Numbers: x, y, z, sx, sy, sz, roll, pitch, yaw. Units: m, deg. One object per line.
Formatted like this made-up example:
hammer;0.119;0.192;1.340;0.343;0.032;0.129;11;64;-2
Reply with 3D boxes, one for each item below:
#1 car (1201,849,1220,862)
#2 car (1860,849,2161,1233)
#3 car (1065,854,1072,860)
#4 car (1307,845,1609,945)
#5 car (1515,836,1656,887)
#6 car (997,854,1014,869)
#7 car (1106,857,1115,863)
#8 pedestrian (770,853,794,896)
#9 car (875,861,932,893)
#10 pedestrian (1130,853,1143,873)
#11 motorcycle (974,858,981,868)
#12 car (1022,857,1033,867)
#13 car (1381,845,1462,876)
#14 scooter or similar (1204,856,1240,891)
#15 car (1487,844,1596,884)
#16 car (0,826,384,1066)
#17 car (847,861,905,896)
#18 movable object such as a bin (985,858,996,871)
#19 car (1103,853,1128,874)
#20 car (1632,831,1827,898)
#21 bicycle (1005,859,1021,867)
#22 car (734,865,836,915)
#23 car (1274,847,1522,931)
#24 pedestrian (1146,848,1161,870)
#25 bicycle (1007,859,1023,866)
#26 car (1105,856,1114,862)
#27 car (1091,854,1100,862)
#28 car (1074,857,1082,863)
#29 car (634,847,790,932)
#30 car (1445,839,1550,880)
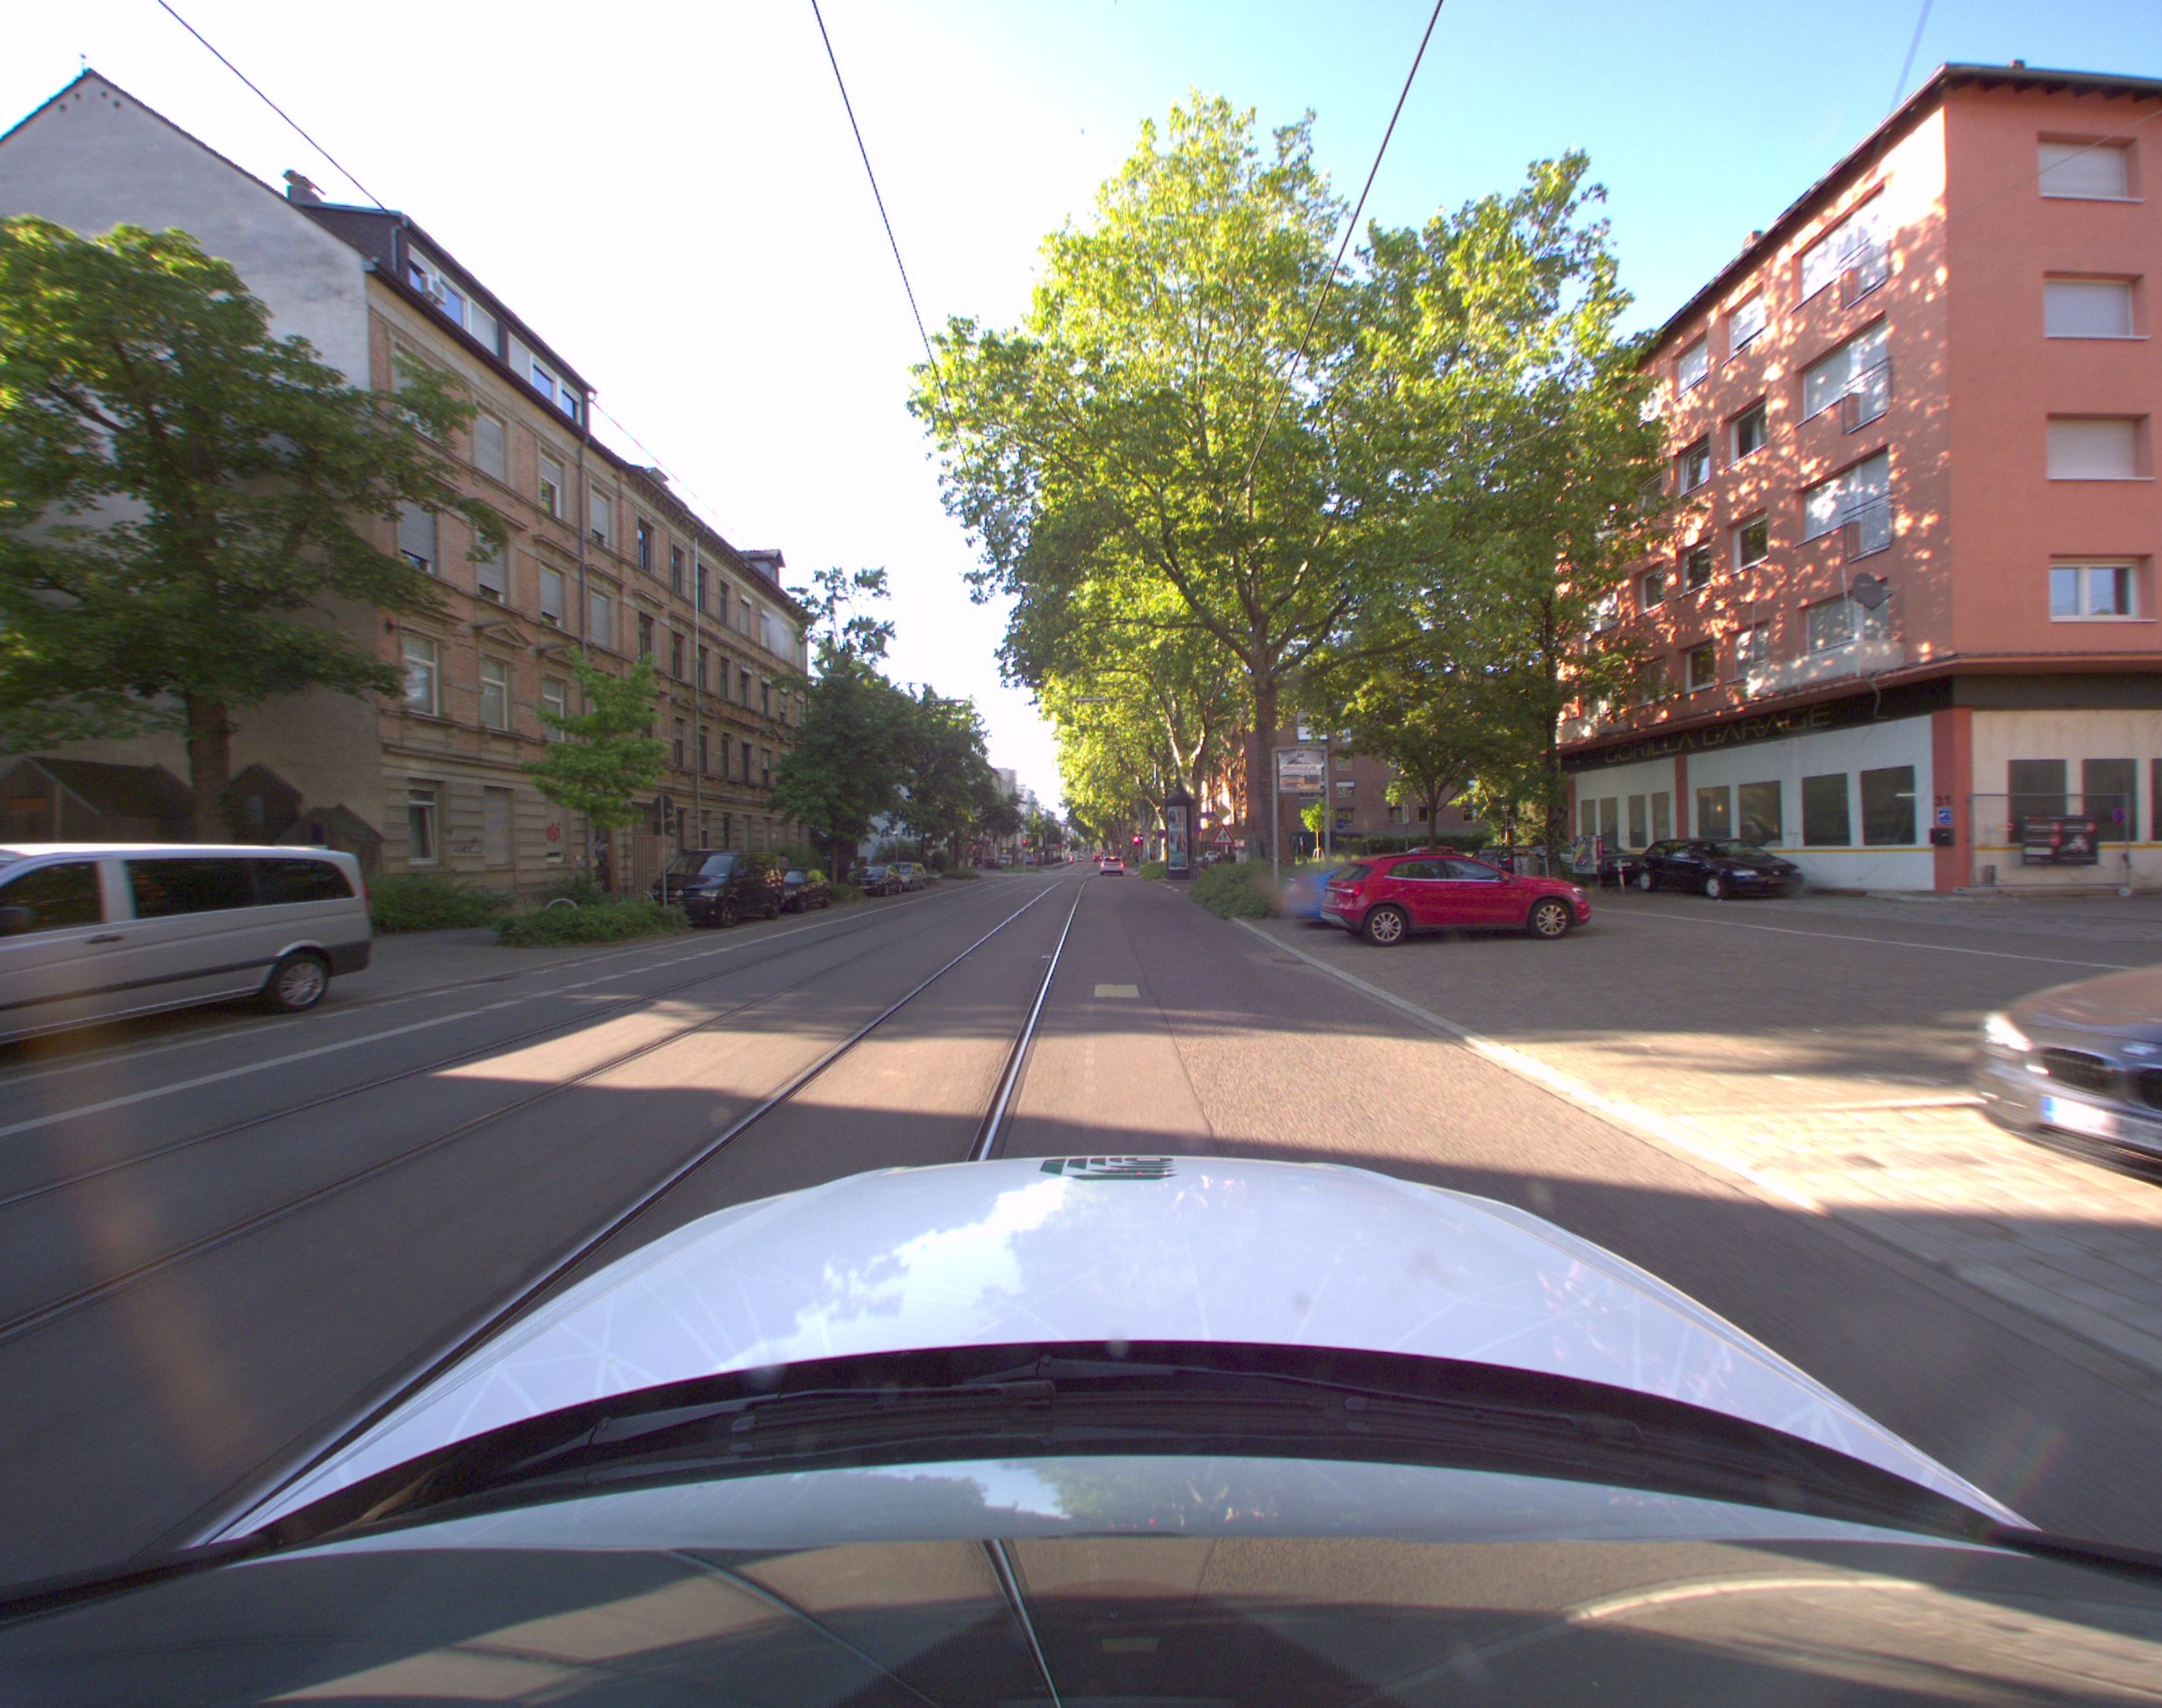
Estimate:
car;15.208;0.222;95.823;1.595;1.495;3.416;-1;0;-1
car;6.229;0.683;3.415;4.186;1.448;1.817;-1;0;0
car;-3.859;0.938;254.472;1.859;1.892;4.000;-1;0;1
car;6.416;0.675;14.286;4.385;1.543;1.953;-1;0;3
car;15.871;0.231;25.933;1.742;1.435;4.469;-2;0;1
car;-9.974;0.953;107.956;1.682;1.940;4.000;-1;0;1
car;6.804;1.395;189.046;1.987;1.453;4.000;-1;0;1
pedestrian;-12.968;0.865;35.313;0.739;1.847;0.728;0;0;-1
car;-9.291;1.165;43.013;1.692;1.550;4.541;-1;0;4
pedestrian;5.178;0.842;75.990;0.992;1.811;0.863;-2;0;-5
motorcycle;-13.615;1.169;106.871;0.597;1.311;2.222;-1;0;1
car;-9.223;1.390;139.868;1.588;1.548;4.000;1;0;1
car;17.685;0.324;42.407;3.528;1.452;1.683;-2;0;-2
scooter or similar;5.218;0.707;30.224;1.204;1.240;0.569;-2;-1;-2
car;19.568;0.401;34.887;1.786;1.574;4.570;-2;0;-5
car;-9.848;0.783;7.834;1.837;1.989;4.990;-1;0;2
car;-9.383;1.093;37.582;1.653;1.445;3.949;-1;0;0
movable object such as a bin;-10.568;1.218;94.689;1.167;1.348;0.782;2;-1;-4
car;2.590;0.724;62.157;1.782;1.513;4.000;-1;0;1
car;15.892;0.236;20.257;1.742;1.435;3.951;-2;0;1
bicycle;-9.990;1.362;119.251;2.244;1.074;0.636;2;0;1
car;-9.765;1.130;27.238;1.847;1.458;4.269;-1;0;0
car;6.270;0.691;16.571;4.379;1.543;1.821;-1;0;7
pedestrian;6.457;0.480;72.631;0.981;1.863;1.014;-5;0;-5
bicycle;-9.937;1.272;122.829;2.244;1.074;0.636;2;0;1
car;6.691;1.163;194.135;1.987;1.453;4.000;-1;0;1
car;3.056;0.867;166.522;1.782;1.513;4.000;-1;0;1
car;-0.761;1.410;191.962;1.688;1.419;4.000;-1;0;1
car;-9.752;0.857;22.044;1.987;2.013;4.833;-1;0;0
car;17.334;0.213;34.201;1.786;1.574;4.570;-2;0;-5
